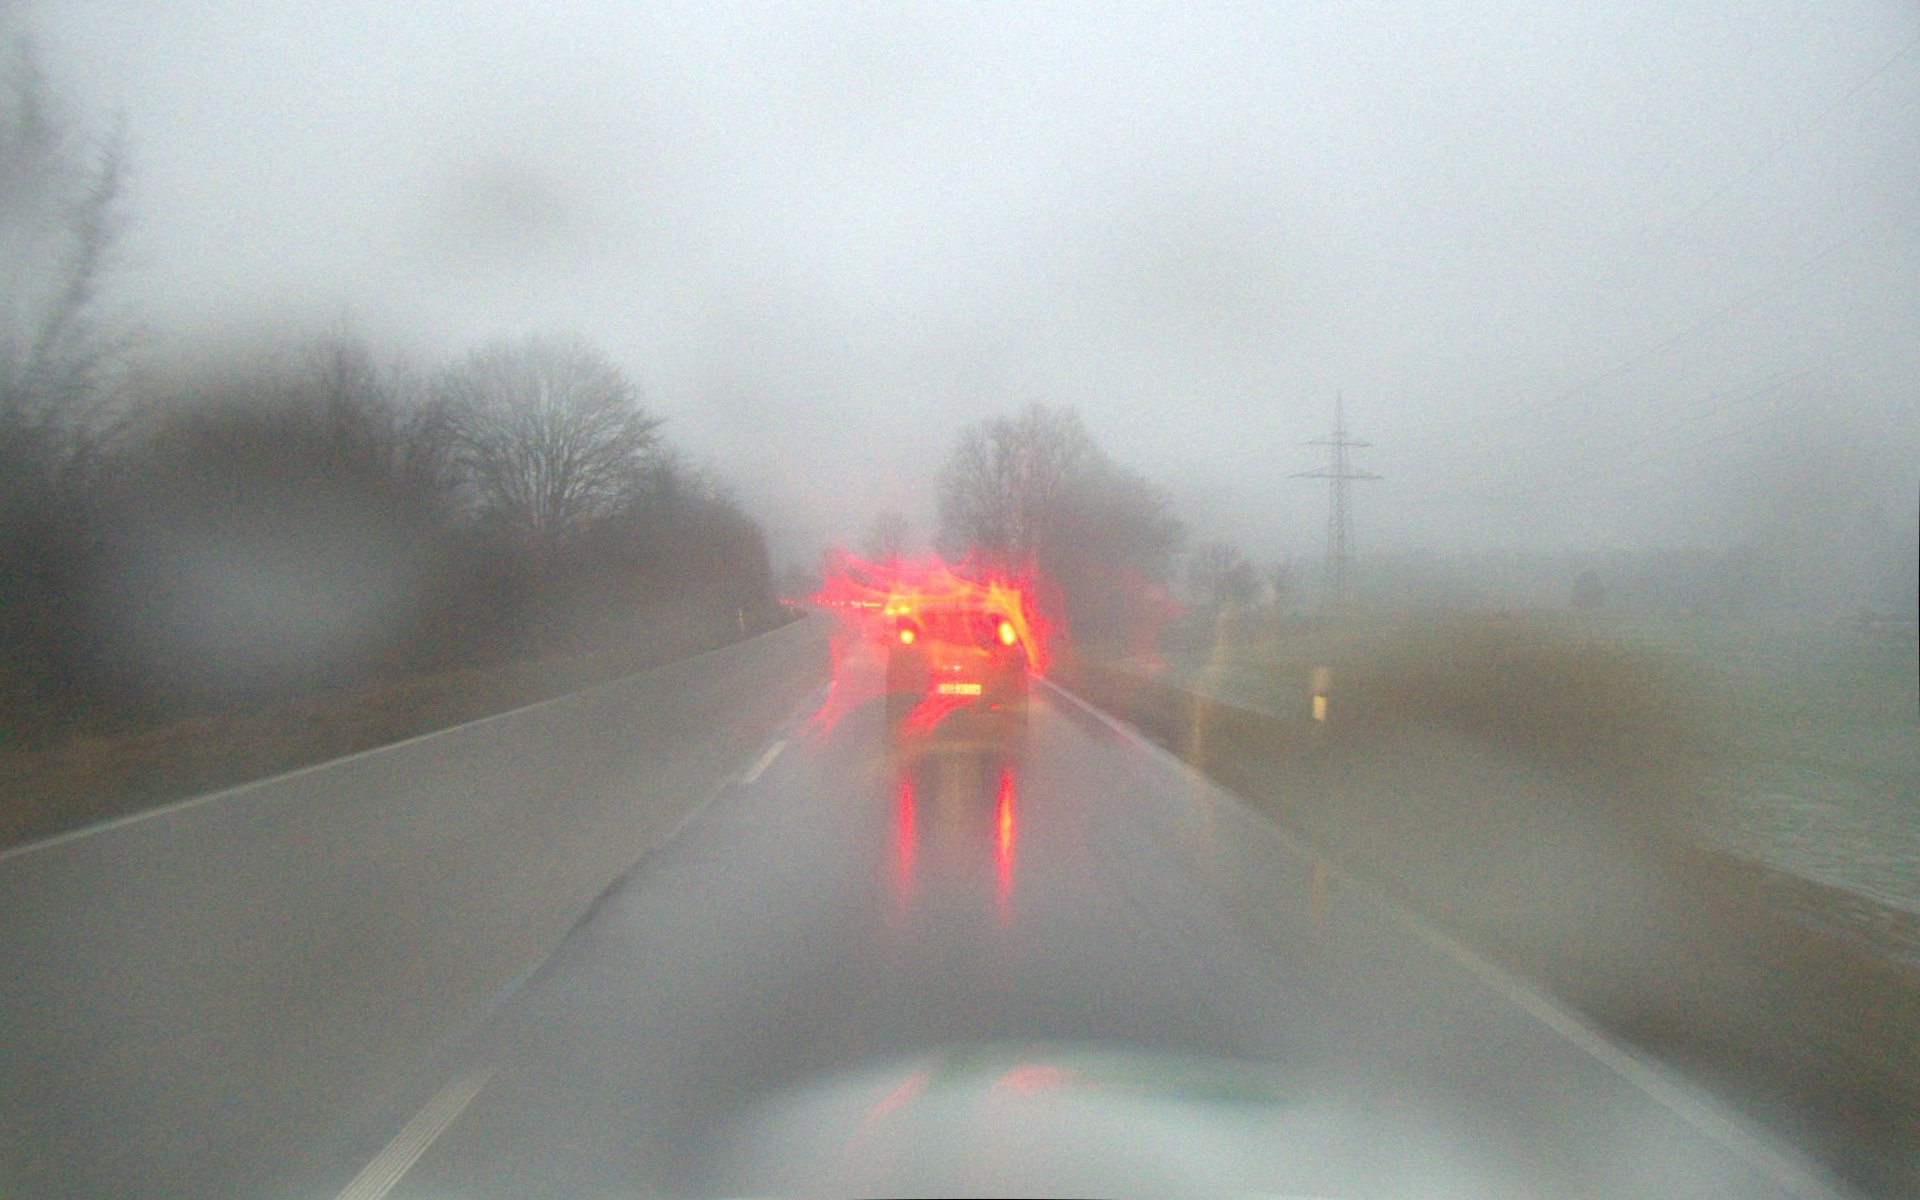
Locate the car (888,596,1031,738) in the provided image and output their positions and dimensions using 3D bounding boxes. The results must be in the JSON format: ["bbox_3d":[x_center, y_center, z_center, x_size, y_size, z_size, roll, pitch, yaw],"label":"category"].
[{"bbox_3d":[-0.004,0.753,20.316,1.569,1.549,3.869,1,0,0],"label":"car"}]

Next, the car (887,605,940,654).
[{"bbox_3d":[-1.428,0.872,50.162,1.516,1.421,3.867,1,0,-3],"label":"car"}]

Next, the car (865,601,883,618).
[{"bbox_3d":[-7.447,0.827,143.211,1.516,1.421,3.868,1,0,-2],"label":"car"}]

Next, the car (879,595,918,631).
[{"bbox_3d":[-2.564,0.539,69.093,1.515,1.421,3.868,1,0,-1],"label":"car"}]
